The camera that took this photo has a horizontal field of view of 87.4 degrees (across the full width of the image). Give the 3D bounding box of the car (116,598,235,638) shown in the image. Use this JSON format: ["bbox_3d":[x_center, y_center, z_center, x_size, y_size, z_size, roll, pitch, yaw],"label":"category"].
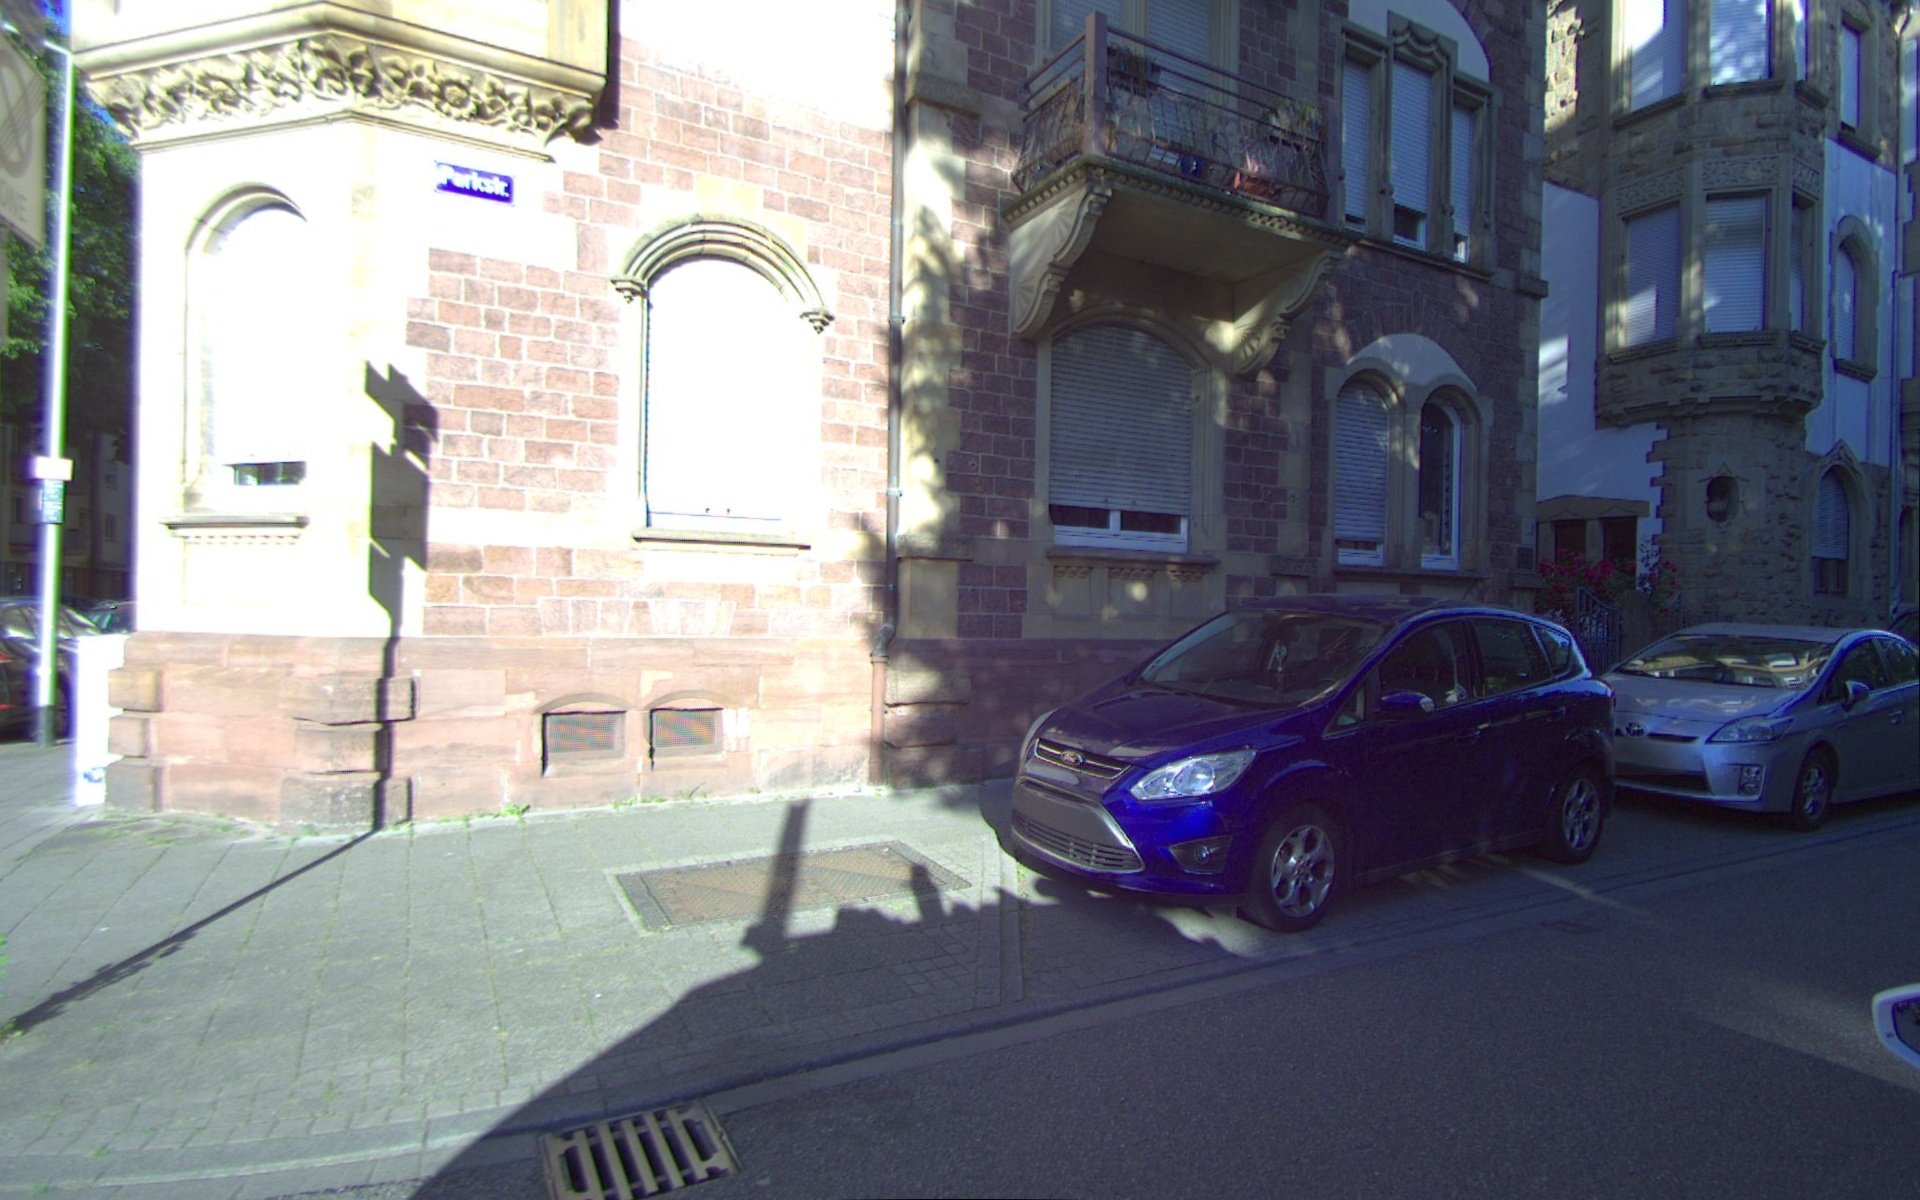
[{"bbox_3d":[-33.979,0.778,43.646,3.767,1.596,1.697,3,-1,-29],"label":"car"}]

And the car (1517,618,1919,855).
[{"bbox_3d":[6.856,0.955,8.560,4.404,1.519,1.720,1,1,-31],"label":"car"}]

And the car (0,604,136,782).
[{"bbox_3d":[-10.427,0.849,10.628,1.721,1.602,3.973,2,-1,-26],"label":"car"}]

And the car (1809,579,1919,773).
[{"bbox_3d":[11.837,0.820,11.452,4.446,2.001,1.958,1,1,-31],"label":"car"}]

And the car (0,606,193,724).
[{"bbox_3d":[-13.541,0.921,15.649,1.721,1.602,3.973,2,-1,-26],"label":"car"}]

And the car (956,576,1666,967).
[{"bbox_3d":[2.240,0.786,6.053,4.210,1.643,1.720,3,0,-31],"label":"car"}]

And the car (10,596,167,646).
[{"bbox_3d":[-29.953,0.740,34.685,3.770,1.596,1.696,3,-1,-31],"label":"car"}]
